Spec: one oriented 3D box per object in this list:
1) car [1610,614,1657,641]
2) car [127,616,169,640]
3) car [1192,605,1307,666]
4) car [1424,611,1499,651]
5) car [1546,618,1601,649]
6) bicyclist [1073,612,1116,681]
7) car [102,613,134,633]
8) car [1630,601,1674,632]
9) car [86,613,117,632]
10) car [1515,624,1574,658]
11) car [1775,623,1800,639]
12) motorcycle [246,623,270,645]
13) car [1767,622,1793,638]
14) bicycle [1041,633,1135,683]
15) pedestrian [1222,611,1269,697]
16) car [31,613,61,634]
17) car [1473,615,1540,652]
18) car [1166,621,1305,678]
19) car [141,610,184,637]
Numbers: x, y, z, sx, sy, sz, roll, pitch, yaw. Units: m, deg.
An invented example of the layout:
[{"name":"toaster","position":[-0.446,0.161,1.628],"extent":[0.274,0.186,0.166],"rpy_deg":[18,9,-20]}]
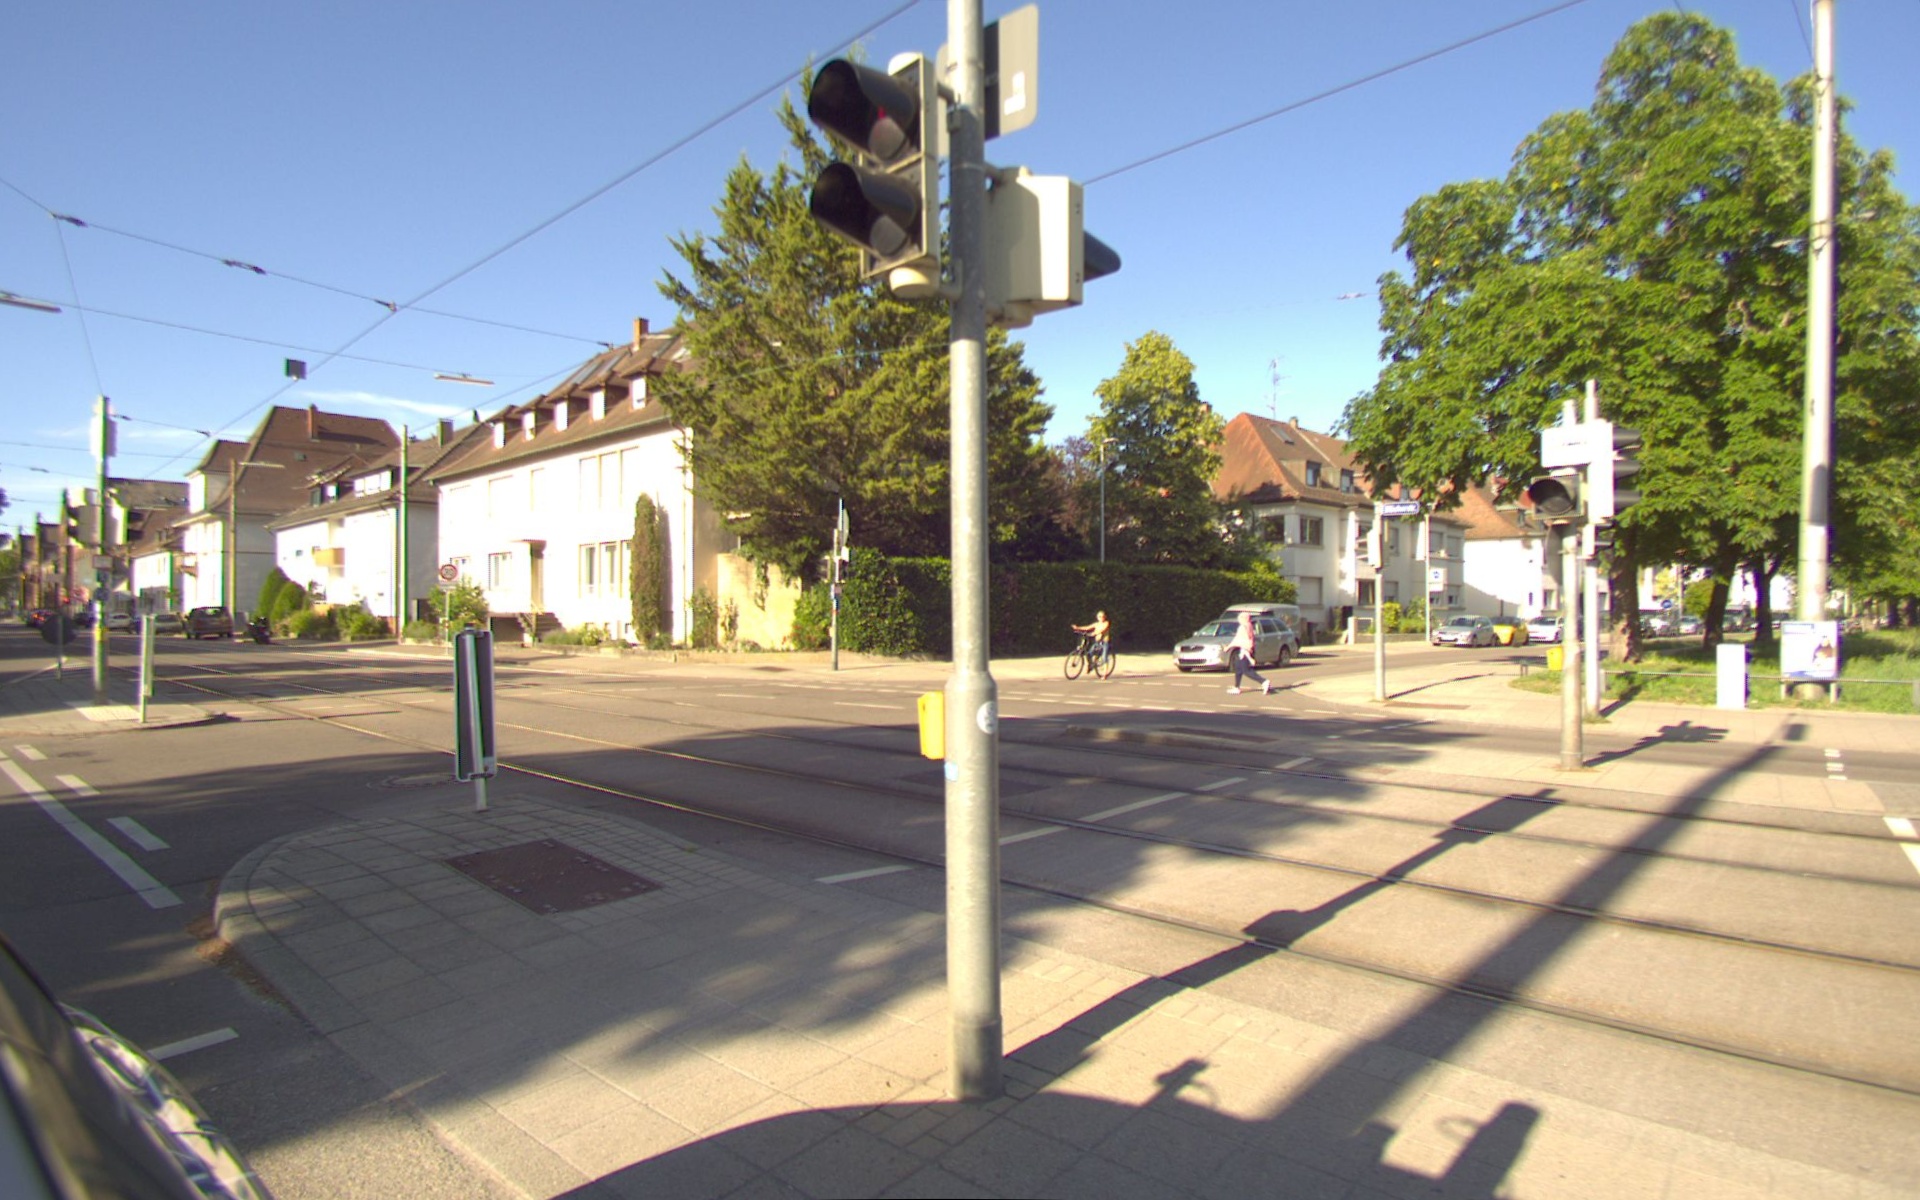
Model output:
[{"name":"car","position":[45.178,1.833,67.848],"extent":[3.829,1.756,1.818],"rpy_deg":[1,-2,-44]},{"name":"car","position":[-60.450,2.065,75.331],"extent":[4.001,1.728,1.898],"rpy_deg":[-1,0,44]},{"name":"car","position":[9.699,1.146,33.778],"extent":[4.251,1.881,1.818],"rpy_deg":[1,-2,-44]},{"name":"car","position":[23.127,1.408,46.613],"extent":[4.139,1.756,1.818],"rpy_deg":[1,-2,-44]},{"name":"car","position":[35.460,1.913,58.461],"extent":[3.829,1.756,1.818],"rpy_deg":[1,-2,-44]},{"name":"bicyclist","position":[3.248,1.111,24.393],"extent":[0.551,1.635,0.900],"rpy_deg":[1,-2,-38]},{"name":"car","position":[-71.408,1.912,85.787],"extent":[1.896,1.576,4.005],"rpy_deg":[-2,0,-42]},{"name":"car","position":[49.464,1.178,72.288],"extent":[4.121,2.110,1.818],"rpy_deg":[1,-2,-44]},{"name":"car","position":[-81.816,2.160,96.404],"extent":[1.897,1.728,4.002],"rpy_deg":[-2,1,-45]},{"name":"car","position":[31.826,2.178,55.071],"extent":[3.829,1.756,1.818],"rpy_deg":[1,-2,-44]},{"name":"car","position":[98.349,3.665,120.256],"extent":[3.829,1.756,1.818],"rpy_deg":[1,-2,-44]},{"name":"motorcycle","position":[-34.995,1.673,50.420],"extent":[0.597,1.054,2.439],"rpy_deg":[-2,0,-44]},{"name":"car","position":[90.816,3.271,112.066],"extent":[3.829,1.756,1.818],"rpy_deg":[1,-2,-44]},{"name":"bicycle","position":[3.082,1.364,24.233],"extent":[2.250,1.126,0.932],"rpy_deg":[1,-1,-39]},{"name":"pedestrian","position":[5.420,1.008,19.209],"extent":[0.614,1.568,0.679],"rpy_deg":[-2,0,-5]},{"name":"car","position":[-80.955,2.044,89.642],"extent":[1.896,1.728,4.005],"rpy_deg":[-2,0,-42]},{"name":"car","position":[26.882,1.625,49.749],"extent":[3.829,1.756,1.818],"rpy_deg":[1,-1,-44]},{"name":"car","position":[7.606,1.301,27.794],"extent":[3.937,1.444,1.819],"rpy_deg":[1,-2,-41]},{"name":"car","position":[-56.136,1.644,71.219],"extent":[4.002,1.728,1.897],"rpy_deg":[-1,0,45]}]
